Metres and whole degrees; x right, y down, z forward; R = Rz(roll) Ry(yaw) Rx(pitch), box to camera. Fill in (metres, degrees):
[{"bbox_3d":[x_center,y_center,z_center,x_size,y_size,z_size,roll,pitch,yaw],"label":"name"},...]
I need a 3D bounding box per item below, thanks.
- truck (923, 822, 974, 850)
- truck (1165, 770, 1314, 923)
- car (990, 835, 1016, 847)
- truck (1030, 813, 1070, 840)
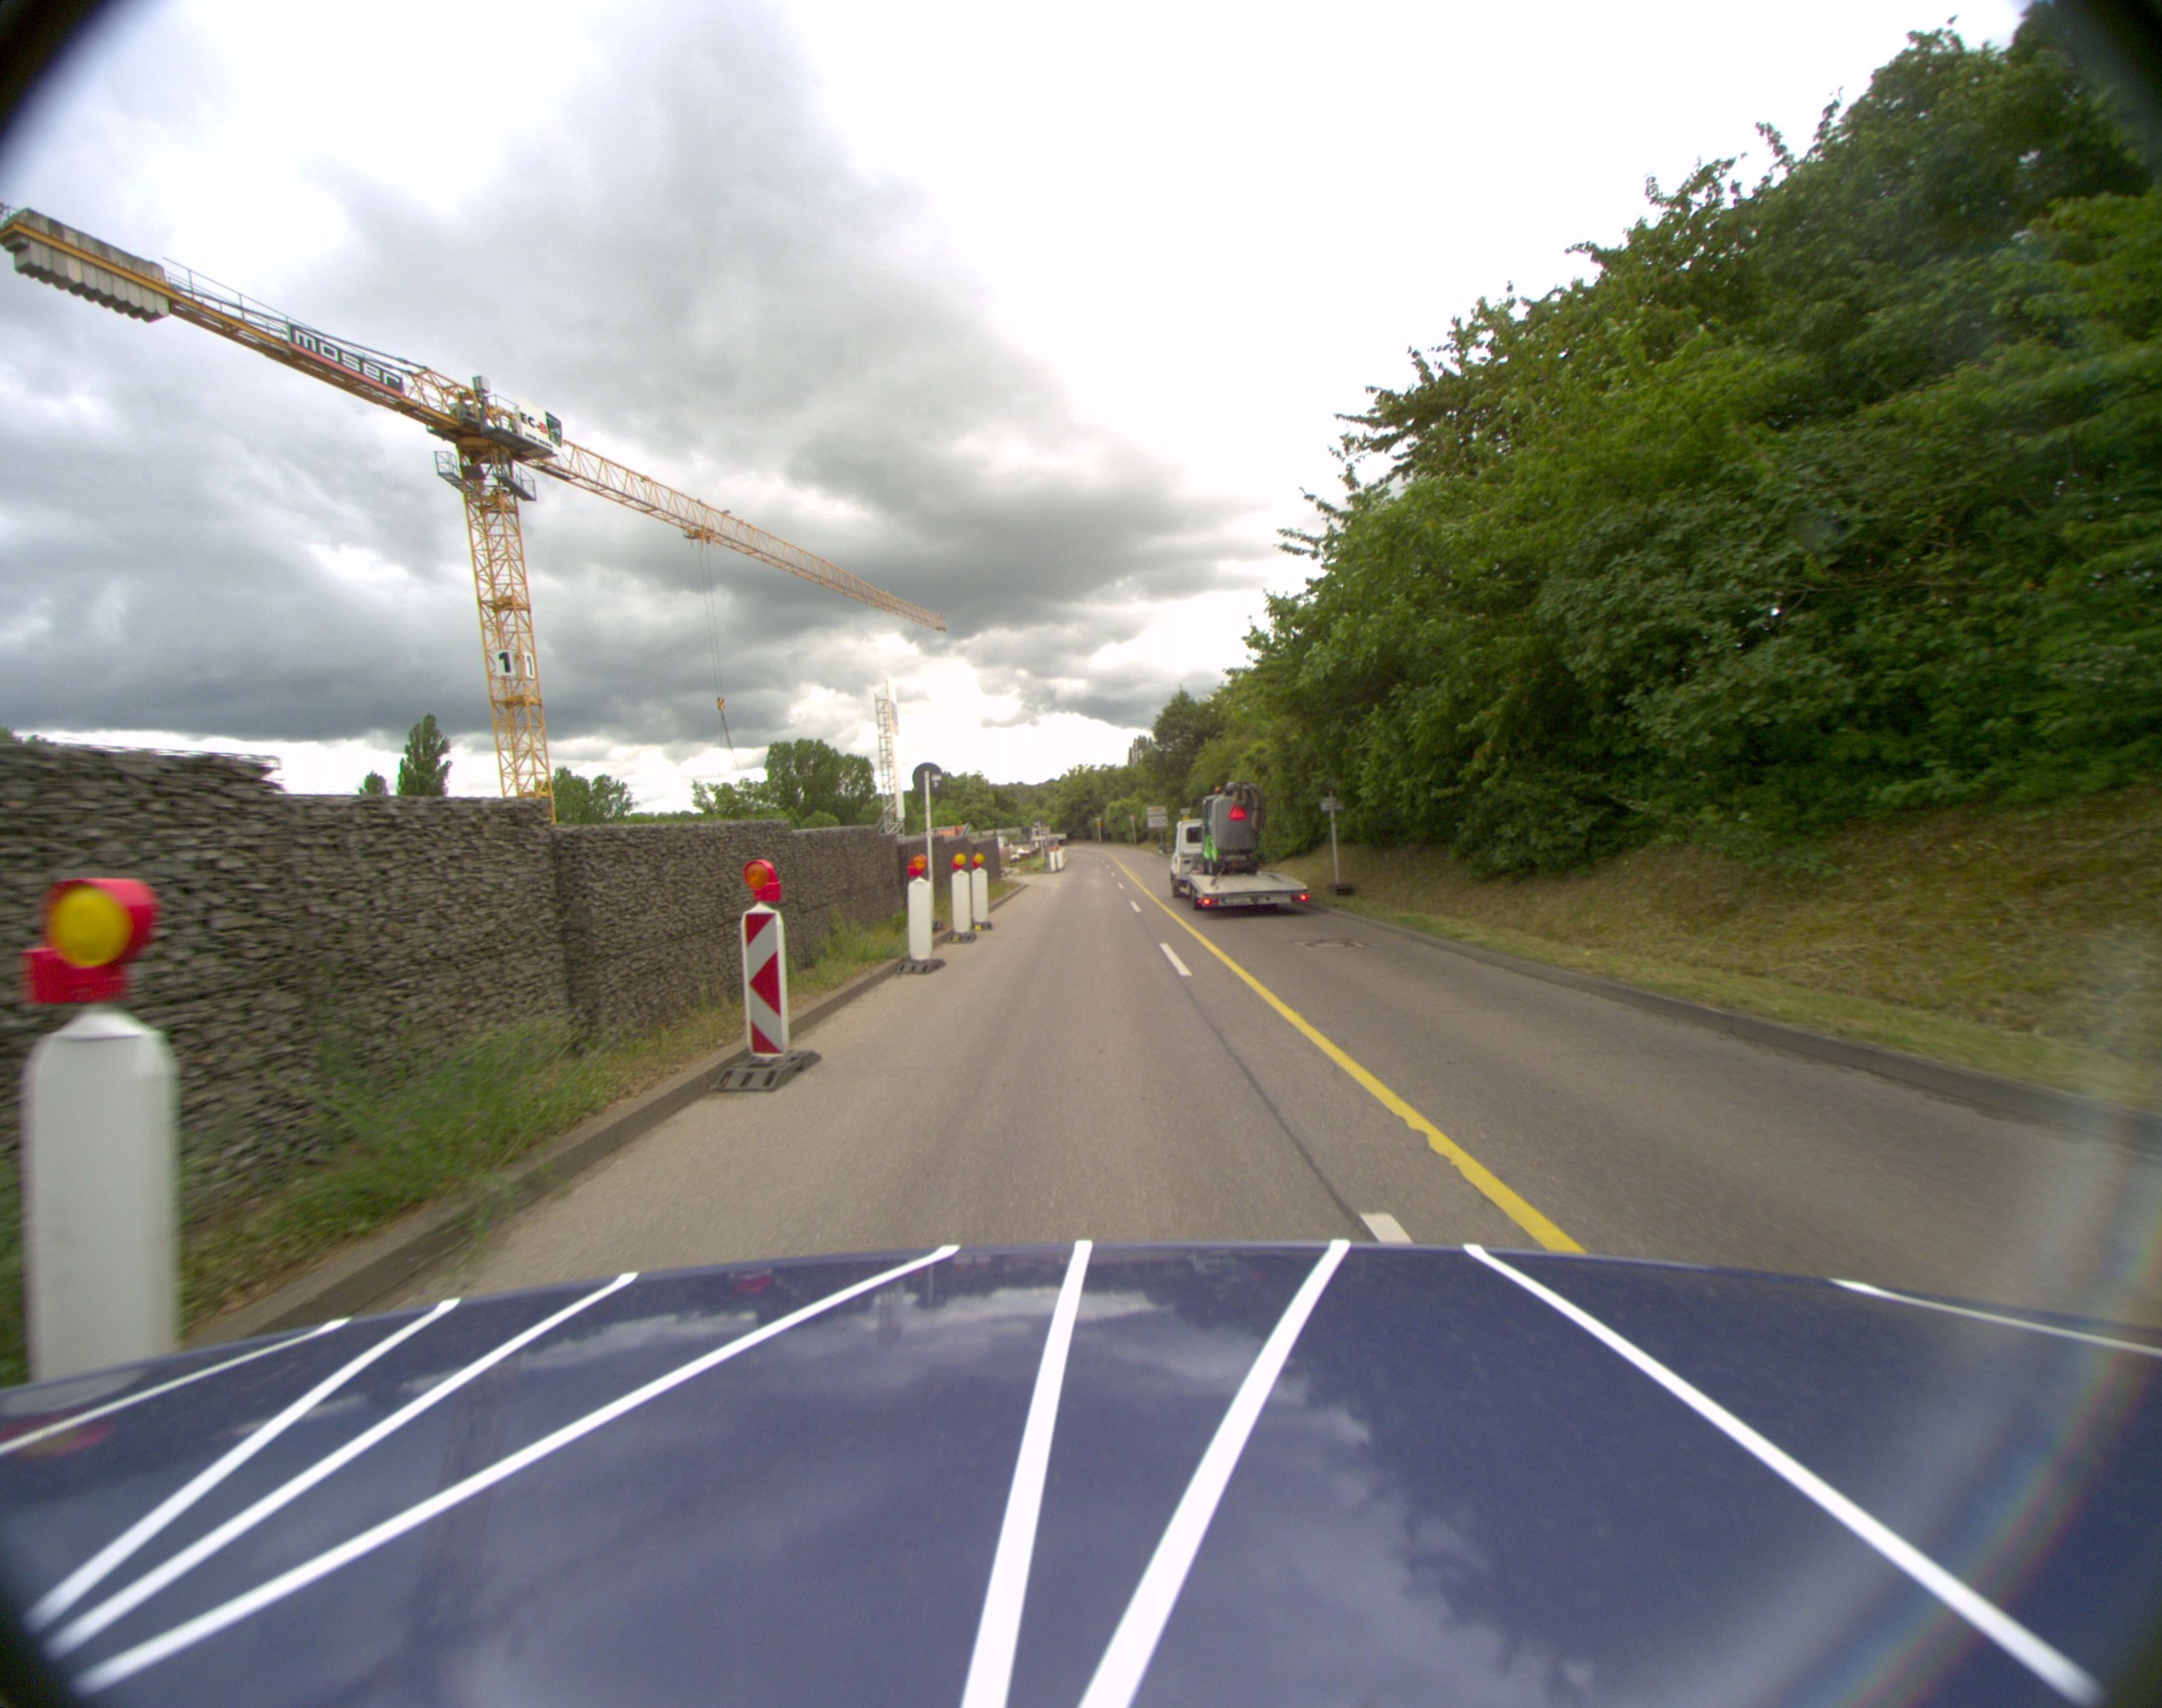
[{"bbox_3d":[-22.055,-2.944,125.931,3.046,3.877,9.975,-8,4,-44],"label":"truck"},{"bbox_3d":[3.603,-0.174,19.116,2.220,2.997,7.739,-2,1,1],"label":"truck"},{"bbox_3d":[-11.804,-1.961,114.688,1.897,1.555,4.089,-8,4,-40],"label":"car"},{"bbox_3d":[-4.211,-3.542,100.812,2.762,3.240,7.596,-6,3,-20],"label":"truck"}]
